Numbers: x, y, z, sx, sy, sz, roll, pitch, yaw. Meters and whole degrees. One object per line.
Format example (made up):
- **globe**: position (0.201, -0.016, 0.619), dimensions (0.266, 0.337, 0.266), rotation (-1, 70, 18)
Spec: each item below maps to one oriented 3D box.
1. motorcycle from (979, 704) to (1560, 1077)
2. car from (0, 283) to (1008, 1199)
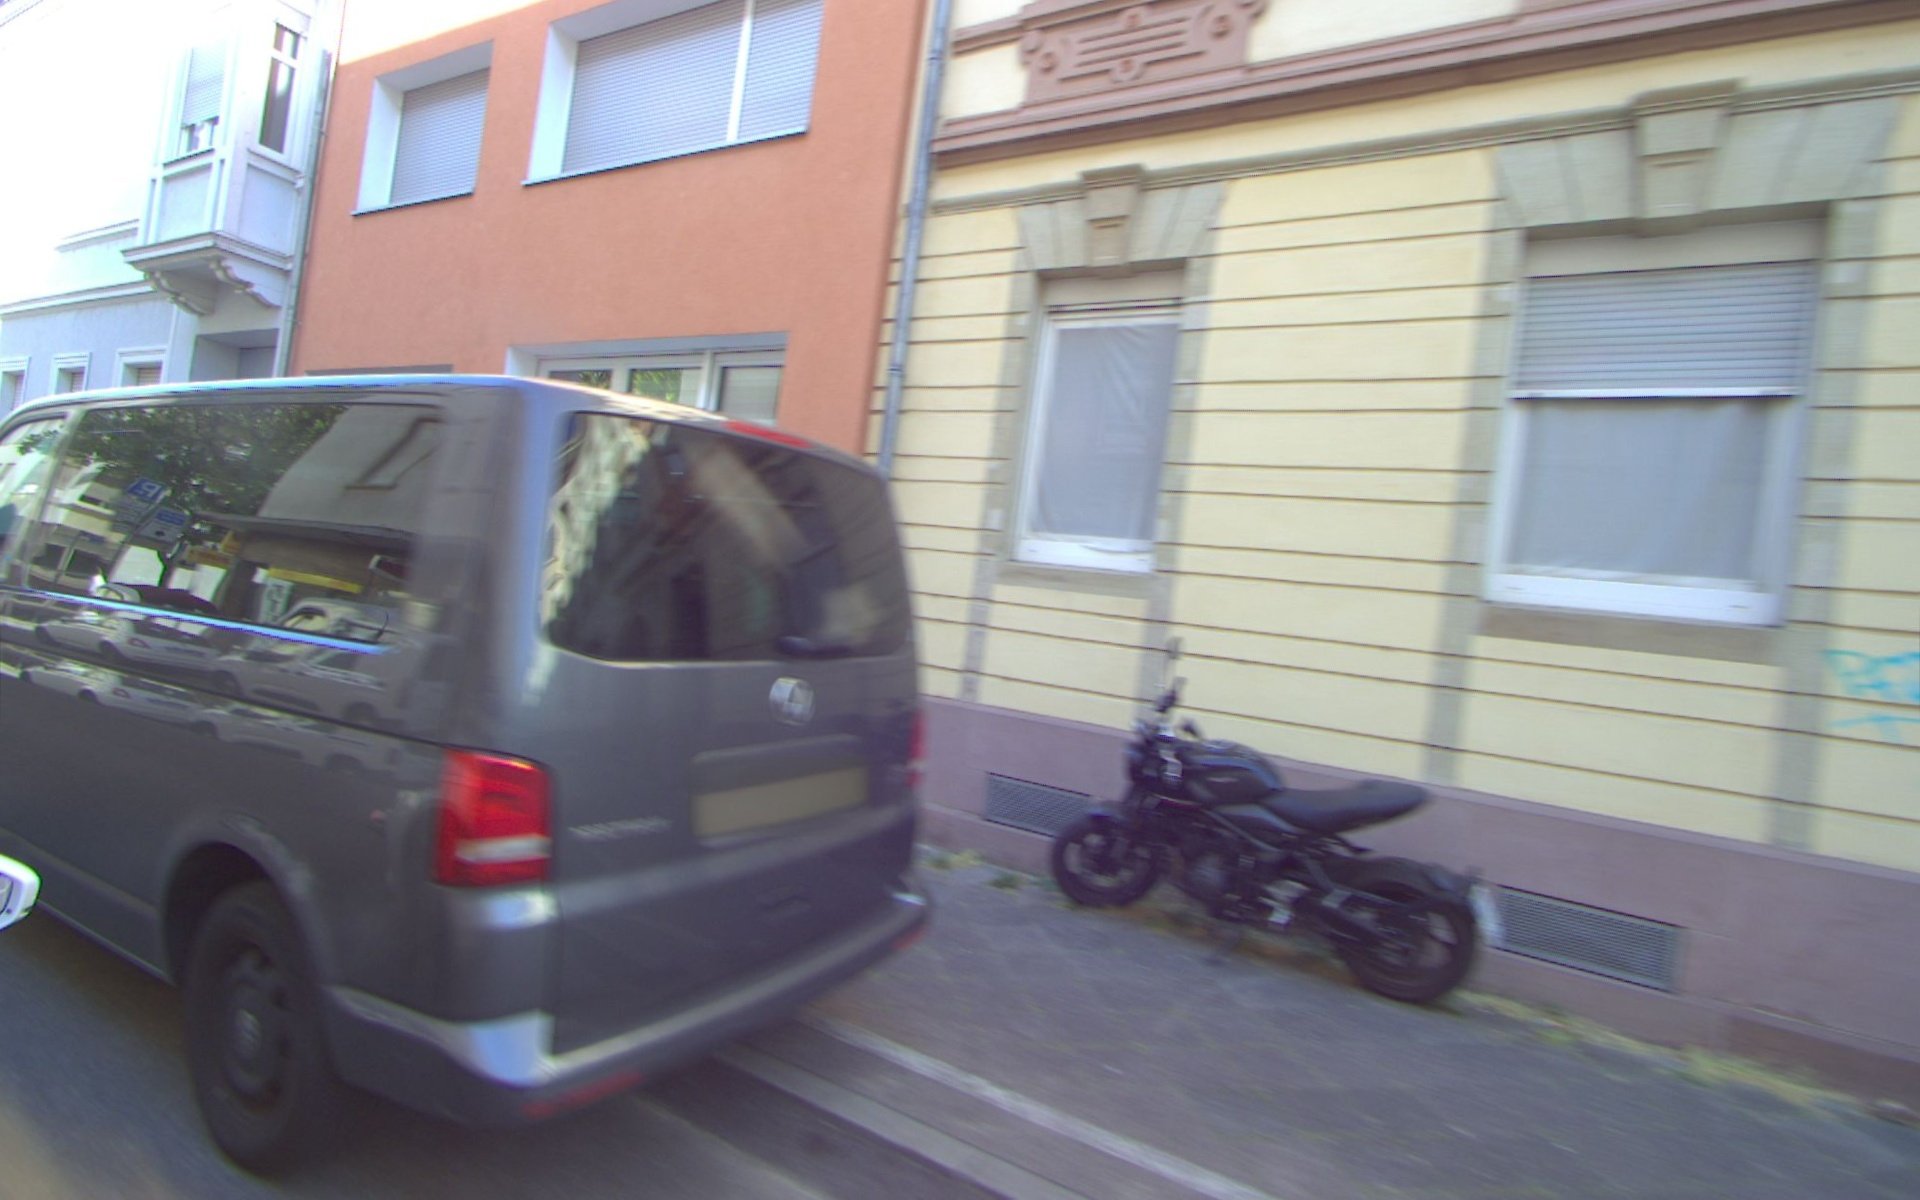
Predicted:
- **motorcycle**: position (1.300, 1.154, 4.548), dimensions (2.324, 1.056, 0.637), rotation (5, -2, 30)
- **car**: position (-2.501, 0.315, 3.960), dimensions (4.817, 2.051, 1.975), rotation (6, -3, 31)
